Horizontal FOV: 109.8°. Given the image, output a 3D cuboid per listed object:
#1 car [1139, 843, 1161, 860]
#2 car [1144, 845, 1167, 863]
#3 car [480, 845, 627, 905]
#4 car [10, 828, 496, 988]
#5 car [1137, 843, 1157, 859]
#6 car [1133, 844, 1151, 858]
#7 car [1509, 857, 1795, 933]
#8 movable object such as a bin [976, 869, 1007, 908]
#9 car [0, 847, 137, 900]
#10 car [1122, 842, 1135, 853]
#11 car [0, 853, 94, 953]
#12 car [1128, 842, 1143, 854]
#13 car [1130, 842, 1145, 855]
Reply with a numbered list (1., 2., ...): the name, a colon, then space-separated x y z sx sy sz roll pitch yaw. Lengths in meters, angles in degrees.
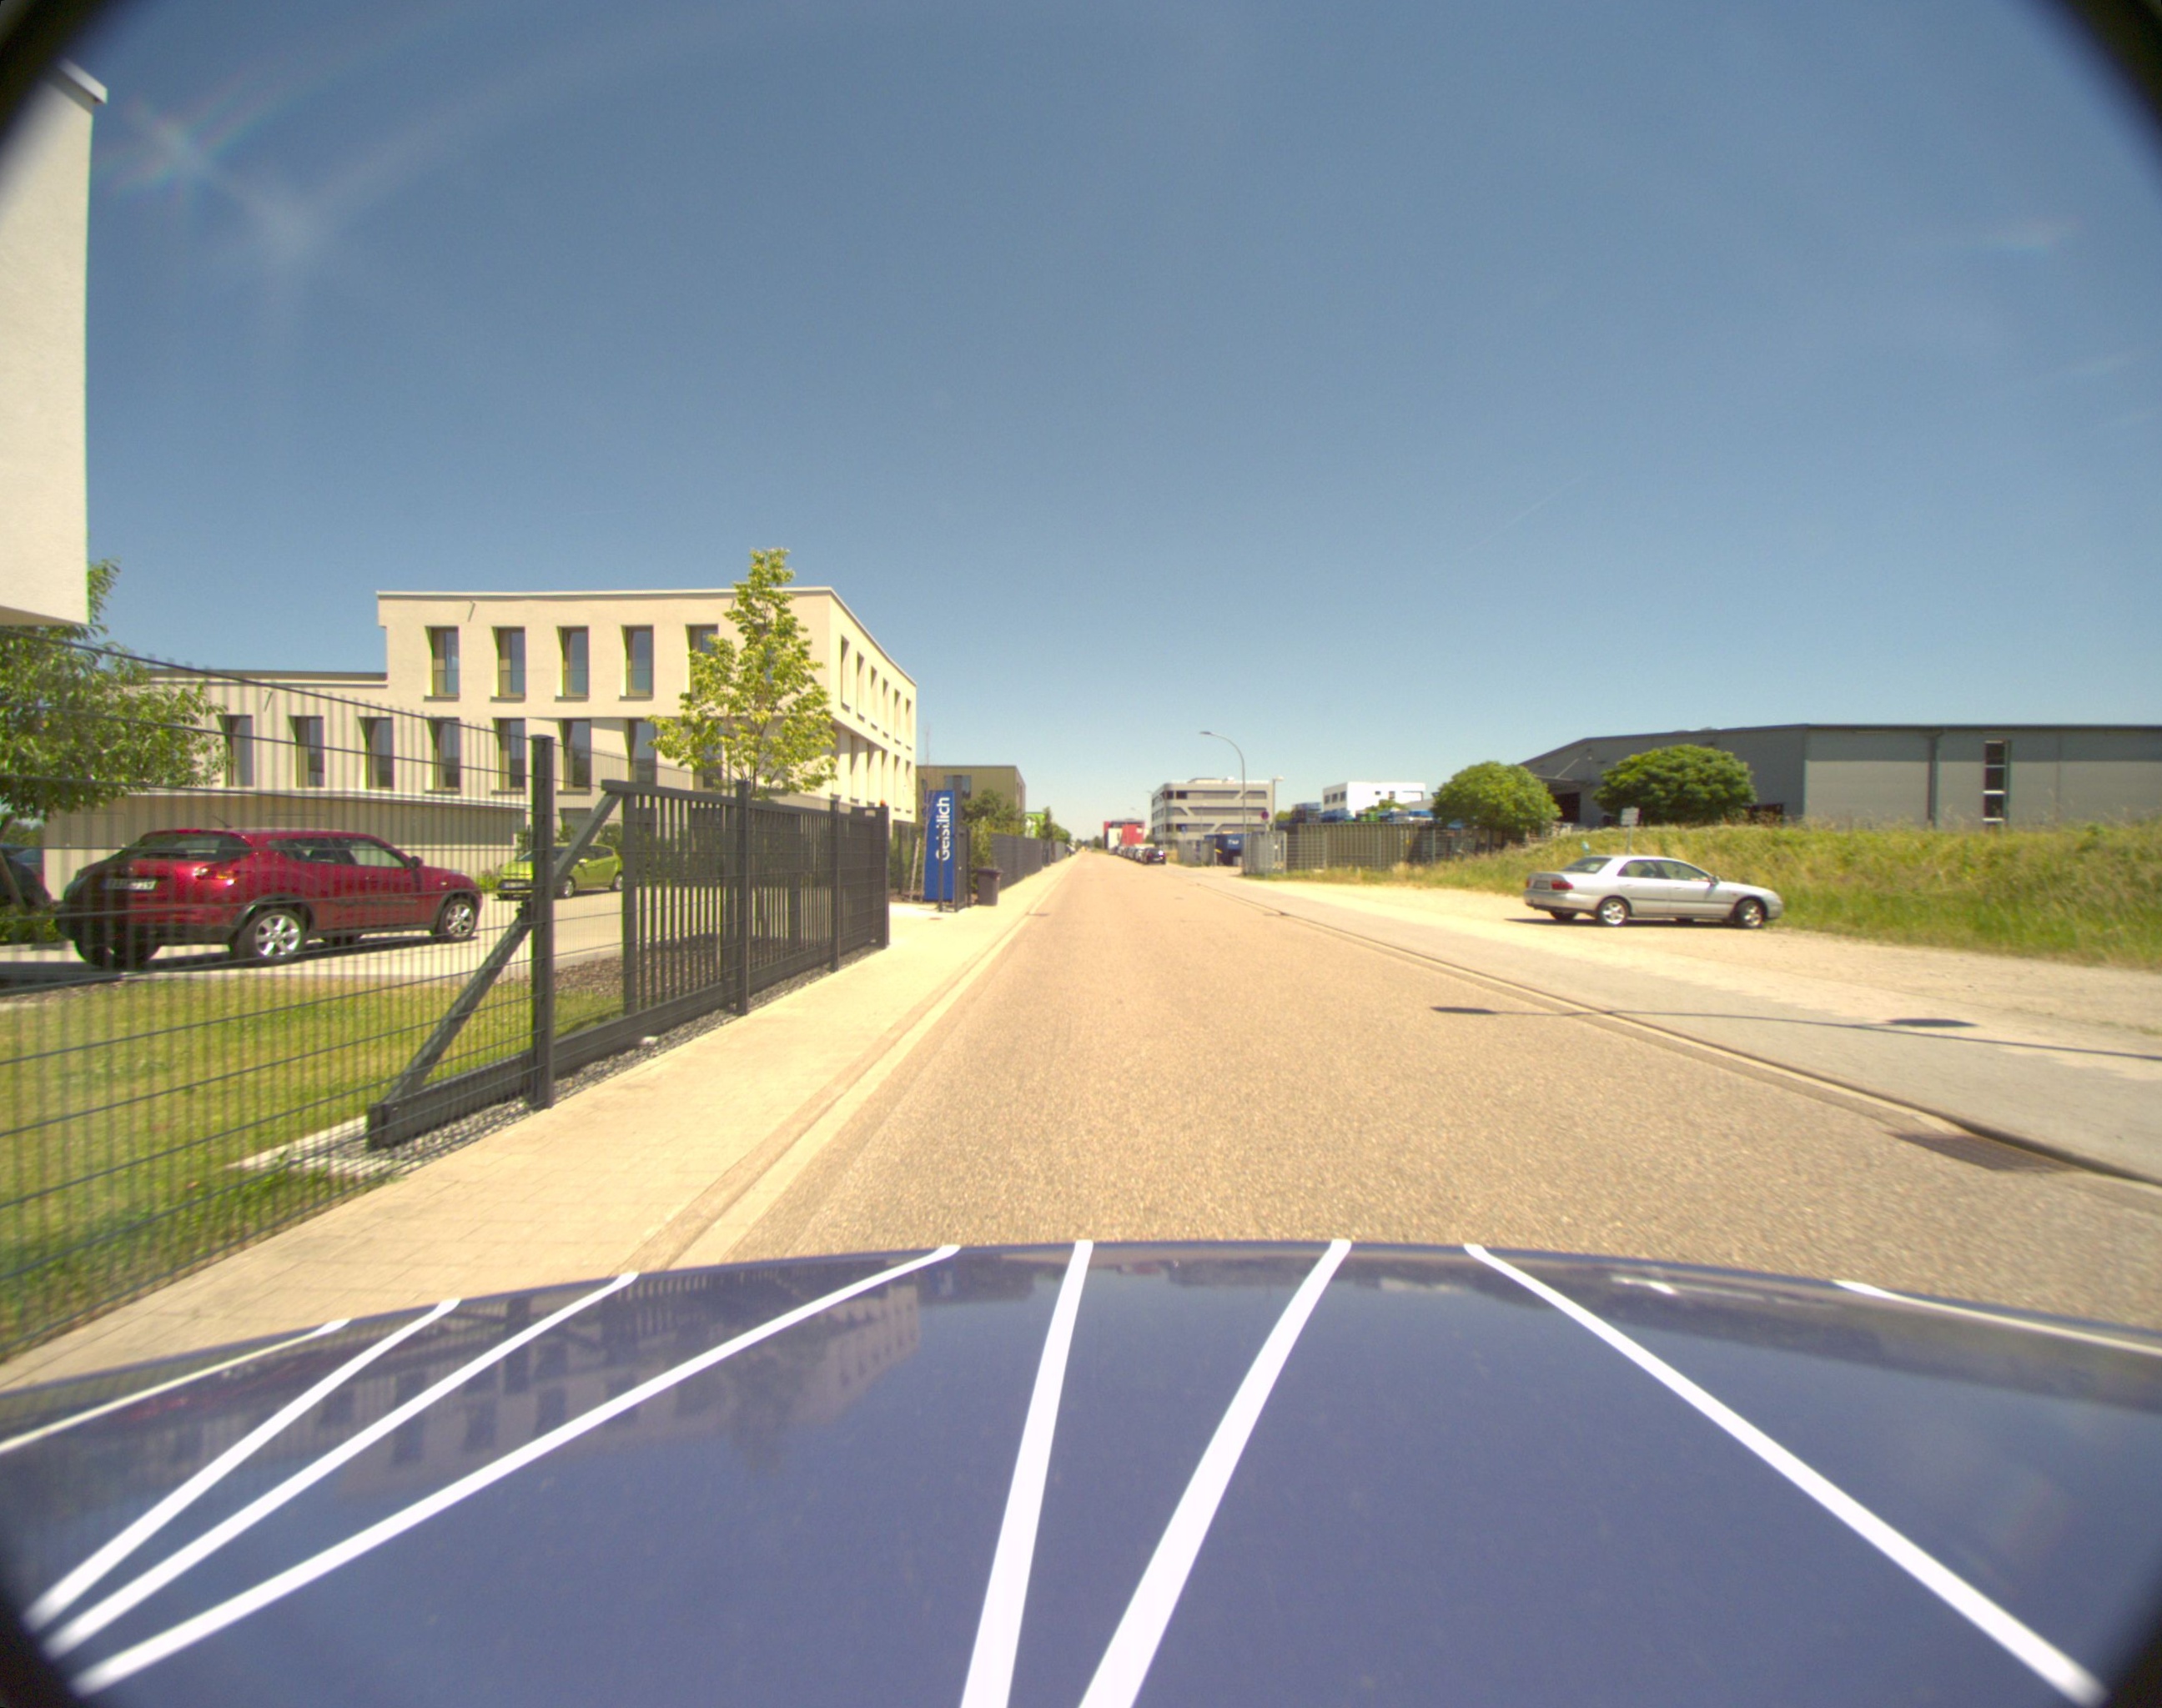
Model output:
1. car: 6.710 -0.224 74.130 1.772 1.521 3.777 -2 1 1
2. car: 6.644 -0.029 68.117 1.695 1.482 3.660 -2 1 1
3. car: -14.130 0.490 20.623 1.614 1.456 3.599 -1 1 -4
4. car: -9.632 0.546 9.449 1.673 1.548 4.077 0 -1 -2
5. car: 6.911 -0.335 79.502 1.772 1.521 3.777 -2 1 1
6. car: 7.080 -0.394 87.995 1.772 1.462 3.777 -3 1 1
7. car: 11.206 0.764 15.165 4.257 1.371 1.862 0 1 2
8. movable object such as a bin: -2.469 0.944 20.996 0.749 1.042 0.698 1 2 1
9. car: -30.135 0.549 21.613 1.673 1.423 3.939 0 -1 -2
10. car: 7.413 -0.986 117.790 1.772 1.521 3.777 -2 1 1
11. car: -16.269 0.699 10.051 1.673 1.423 3.677 0 -1 -2
12. car: 7.406 -0.817 103.805 1.772 1.521 3.777 -2 1 1
13. car: 7.377 -0.690 99.201 1.659 1.573 3.777 -2 1 1
